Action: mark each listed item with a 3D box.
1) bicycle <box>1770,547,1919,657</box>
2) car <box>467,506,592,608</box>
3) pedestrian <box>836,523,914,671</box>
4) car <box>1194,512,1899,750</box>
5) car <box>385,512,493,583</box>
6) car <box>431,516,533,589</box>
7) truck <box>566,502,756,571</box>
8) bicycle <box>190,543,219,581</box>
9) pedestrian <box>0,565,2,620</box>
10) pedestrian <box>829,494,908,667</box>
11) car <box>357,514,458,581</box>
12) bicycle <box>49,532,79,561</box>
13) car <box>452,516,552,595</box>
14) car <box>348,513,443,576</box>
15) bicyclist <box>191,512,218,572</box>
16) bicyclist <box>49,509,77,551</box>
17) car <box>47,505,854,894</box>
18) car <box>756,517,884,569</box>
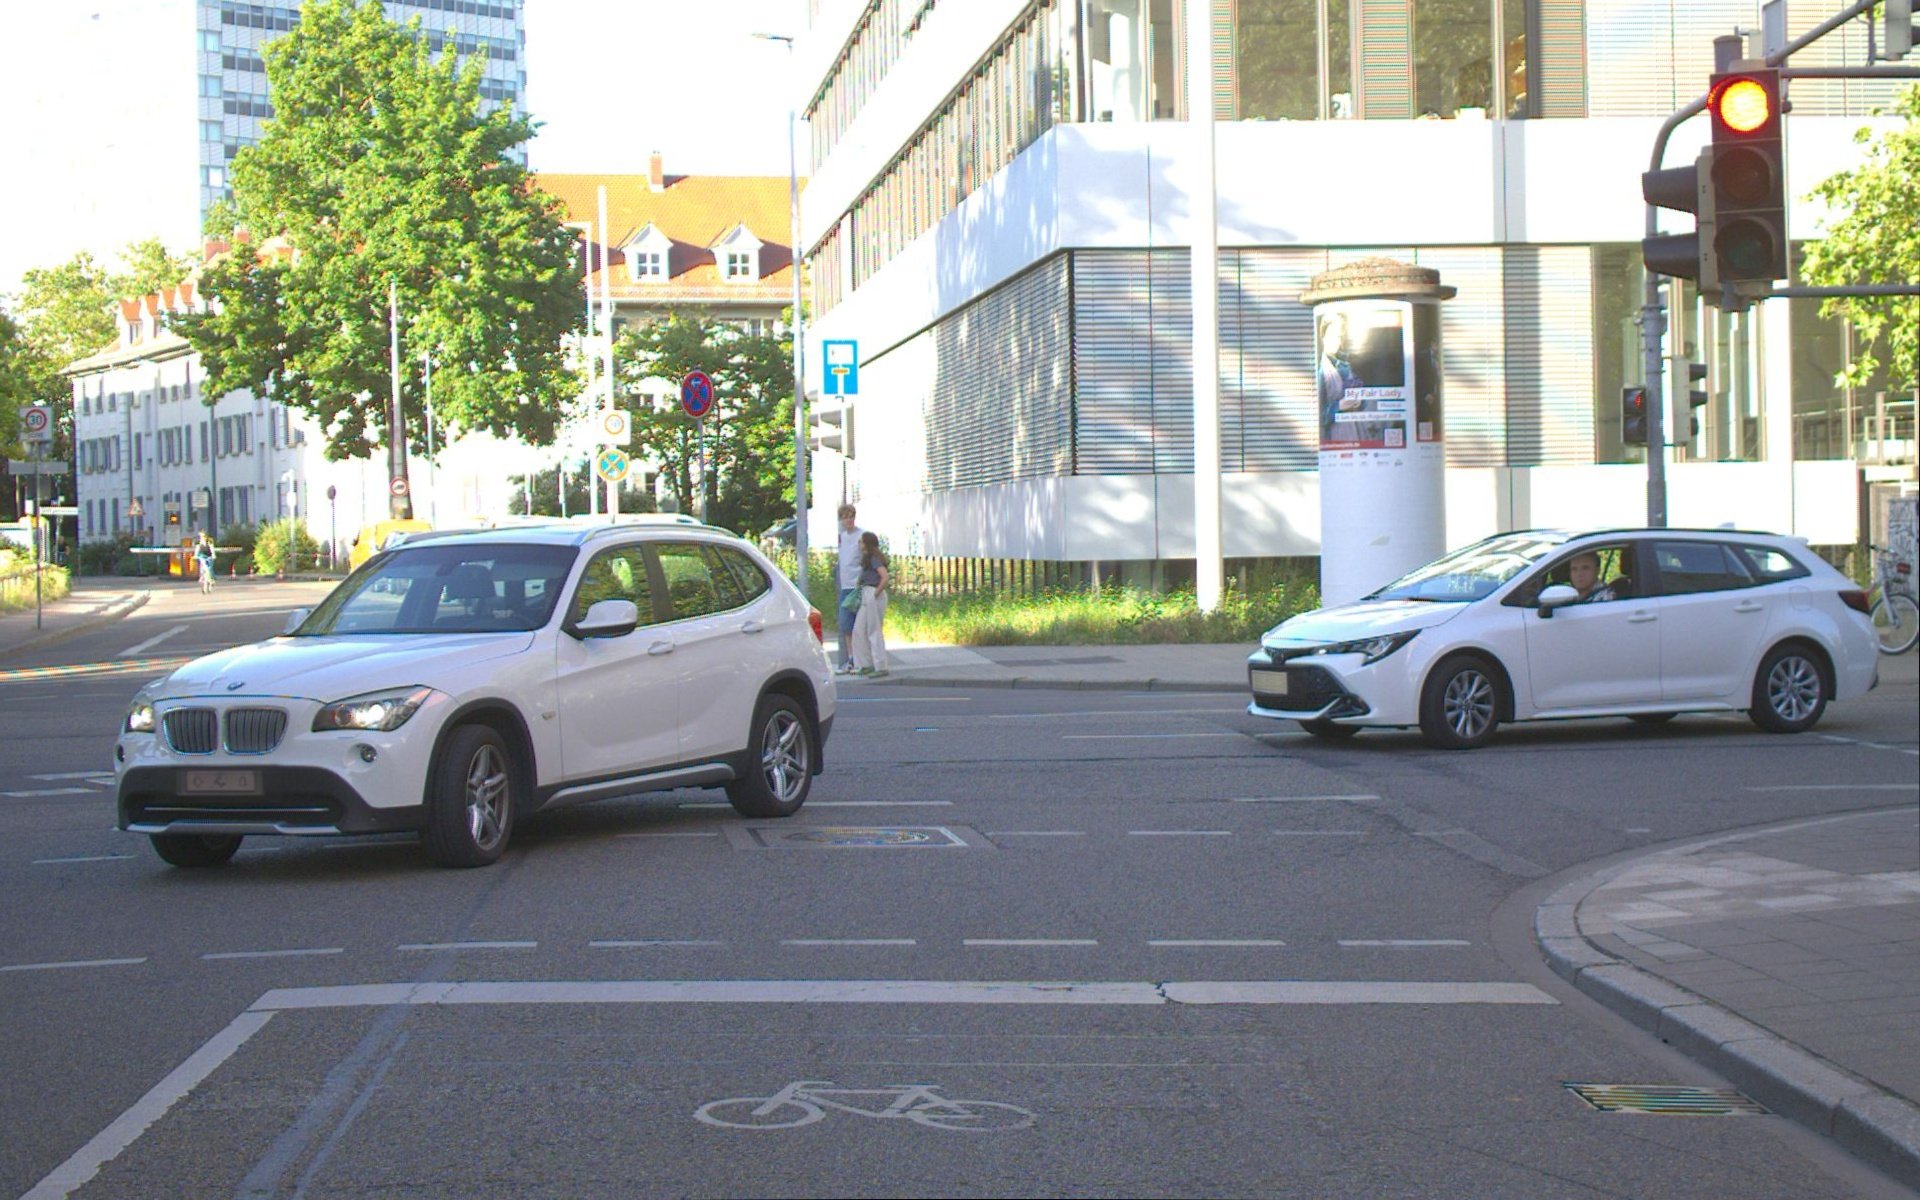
[{"bbox_3d":[9.311,0.009,36.038,0.507,1.045,1.687,-4,5,-35],"label":"bicycle"},{"bbox_3d":[-8.137,-0.843,64.687,2.084,1.789,4.417,-1,2,-10],"label":"car"},{"bbox_3d":[-0.916,-0.037,37.029,0.559,1.535,0.677,-5,2,-18],"label":"pedestrian"},{"bbox_3d":[4.073,0.163,23.824,4.529,1.471,1.893,-1,1,-25],"label":"car"},{"bbox_3d":[-13.001,-1.331,85.563,1.888,1.650,4.417,-1,2,-19],"label":"car"},{"bbox_3d":[-10.918,-1.115,78.315,1.888,1.550,4.417,-1,2,-13],"label":"car"},{"bbox_3d":[-8.963,-1.915,103.052,5.336,2.007,2.001,-1,1,-19],"label":"truck"},{"bbox_3d":[-19.674,-1.003,89.590,0.615,0.966,1.842,-2,1,-9],"label":"bicycle"},{"bbox_3d":[-16.818,-0.501,58.821,0.703,1.717,0.955,-3,1,-19],"label":"pedestrian"},{"bbox_3d":[-1.004,-0.217,37.808,0.560,1.844,0.677,-3,2,16],"label":"pedestrian"},{"bbox_3d":[-14.549,-1.399,90.349,1.888,1.650,4.417,-1,2,-19],"label":"car"},{"bbox_3d":[-33.044,-1.966,126.780,0.865,1.006,2.415,-4,1,-11],"label":"bicycle"},{"bbox_3d":[-9.744,-0.969,72.945,1.888,1.550,4.417,-1,2,-10],"label":"car"},{"bbox_3d":[-15.696,-1.572,95.498,1.888,1.650,4.417,-1,2,-19],"label":"car"},{"bbox_3d":[-19.686,-1.514,89.593,0.615,1.527,0.903,-2,1,-9],"label":"bicyclist"},{"bbox_3d":[-33.074,-2.573,126.784,0.865,1.510,1.019,-4,1,-11],"label":"bicyclist"},{"bbox_3d":[-2.312,0.402,16.819,1.688,1.577,4.269,-3,1,27],"label":"car"},{"bbox_3d":[-4.248,-1.733,104.240,3.554,1.541,1.559,-1,1,-19],"label":"car"}]
